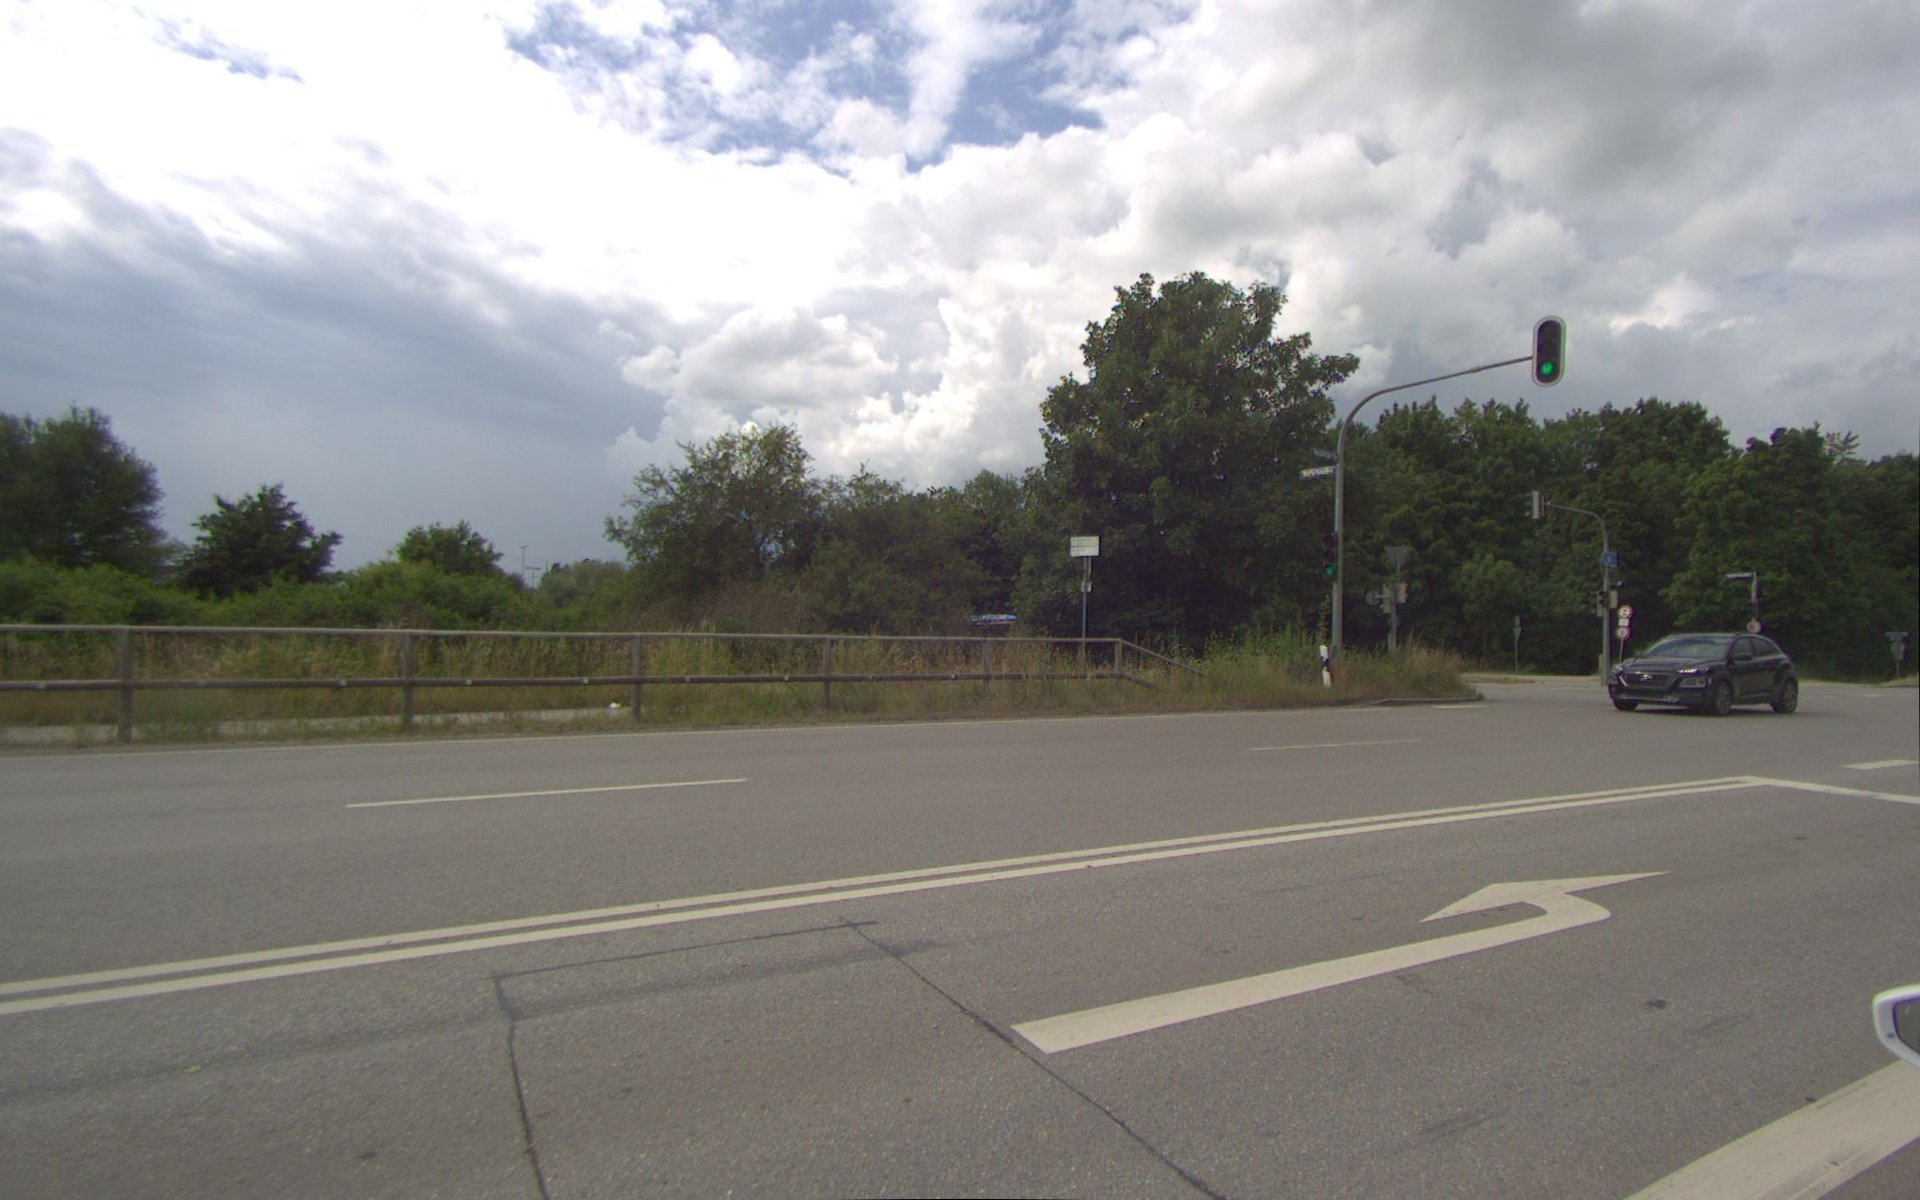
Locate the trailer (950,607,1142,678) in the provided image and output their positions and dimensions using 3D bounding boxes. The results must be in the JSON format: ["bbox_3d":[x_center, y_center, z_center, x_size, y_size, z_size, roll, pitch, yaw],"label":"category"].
[{"bbox_3d":[3.841,1.954,48.556,2.861,3.077,10.639,1,-2,-38],"label":"trailer"}]

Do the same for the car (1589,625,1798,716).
[{"bbox_3d":[14.229,1.323,19.451,3.951,1.594,1.784,2,-2,-29],"label":"car"}]
